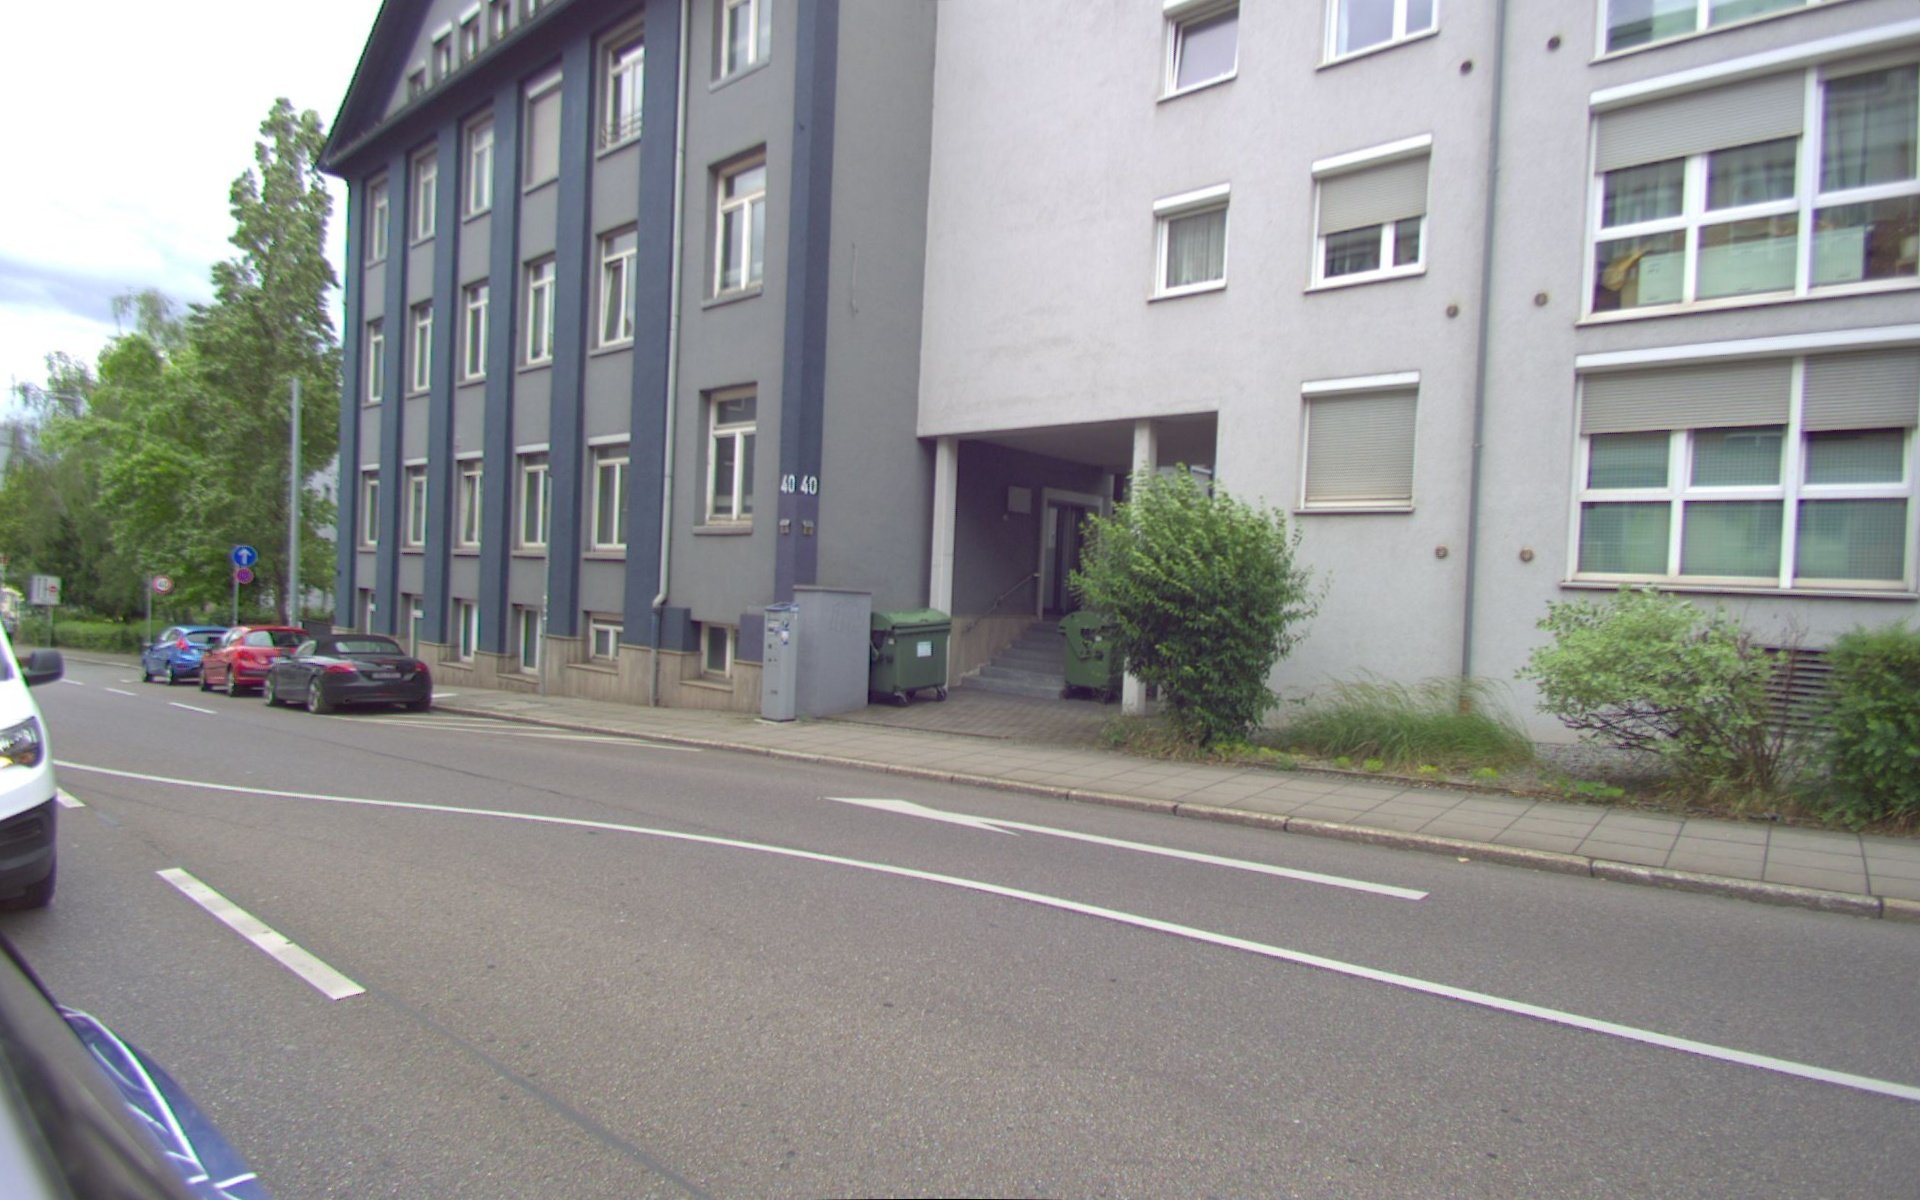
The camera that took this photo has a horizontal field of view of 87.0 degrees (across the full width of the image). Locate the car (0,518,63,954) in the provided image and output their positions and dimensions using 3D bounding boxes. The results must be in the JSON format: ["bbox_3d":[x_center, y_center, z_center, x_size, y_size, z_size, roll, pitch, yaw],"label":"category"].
[{"bbox_3d":[-6.121,0.618,5.246,3.998,1.901,1.716,-1,0,41],"label":"car"}]

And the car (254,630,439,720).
[{"bbox_3d":[-11.052,1.266,18.152,3.727,1.403,1.778,-1,-2,41],"label":"car"}]

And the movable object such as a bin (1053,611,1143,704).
[{"bbox_3d":[2.257,0.908,16.544,1.078,1.427,1.026,-1,0,41],"label":"movable object such as a bin"}]

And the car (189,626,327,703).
[{"bbox_3d":[-15.332,1.330,22.044,3.727,1.460,1.623,-1,0,41],"label":"car"}]

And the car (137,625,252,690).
[{"bbox_3d":[-19.491,1.410,25.720,3.727,1.460,1.623,-1,0,41],"label":"car"}]

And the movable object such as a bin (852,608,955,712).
[{"bbox_3d":[-0.875,0.890,15.715,1.039,1.518,1.213,-1,0,41],"label":"movable object such as a bin"}]
